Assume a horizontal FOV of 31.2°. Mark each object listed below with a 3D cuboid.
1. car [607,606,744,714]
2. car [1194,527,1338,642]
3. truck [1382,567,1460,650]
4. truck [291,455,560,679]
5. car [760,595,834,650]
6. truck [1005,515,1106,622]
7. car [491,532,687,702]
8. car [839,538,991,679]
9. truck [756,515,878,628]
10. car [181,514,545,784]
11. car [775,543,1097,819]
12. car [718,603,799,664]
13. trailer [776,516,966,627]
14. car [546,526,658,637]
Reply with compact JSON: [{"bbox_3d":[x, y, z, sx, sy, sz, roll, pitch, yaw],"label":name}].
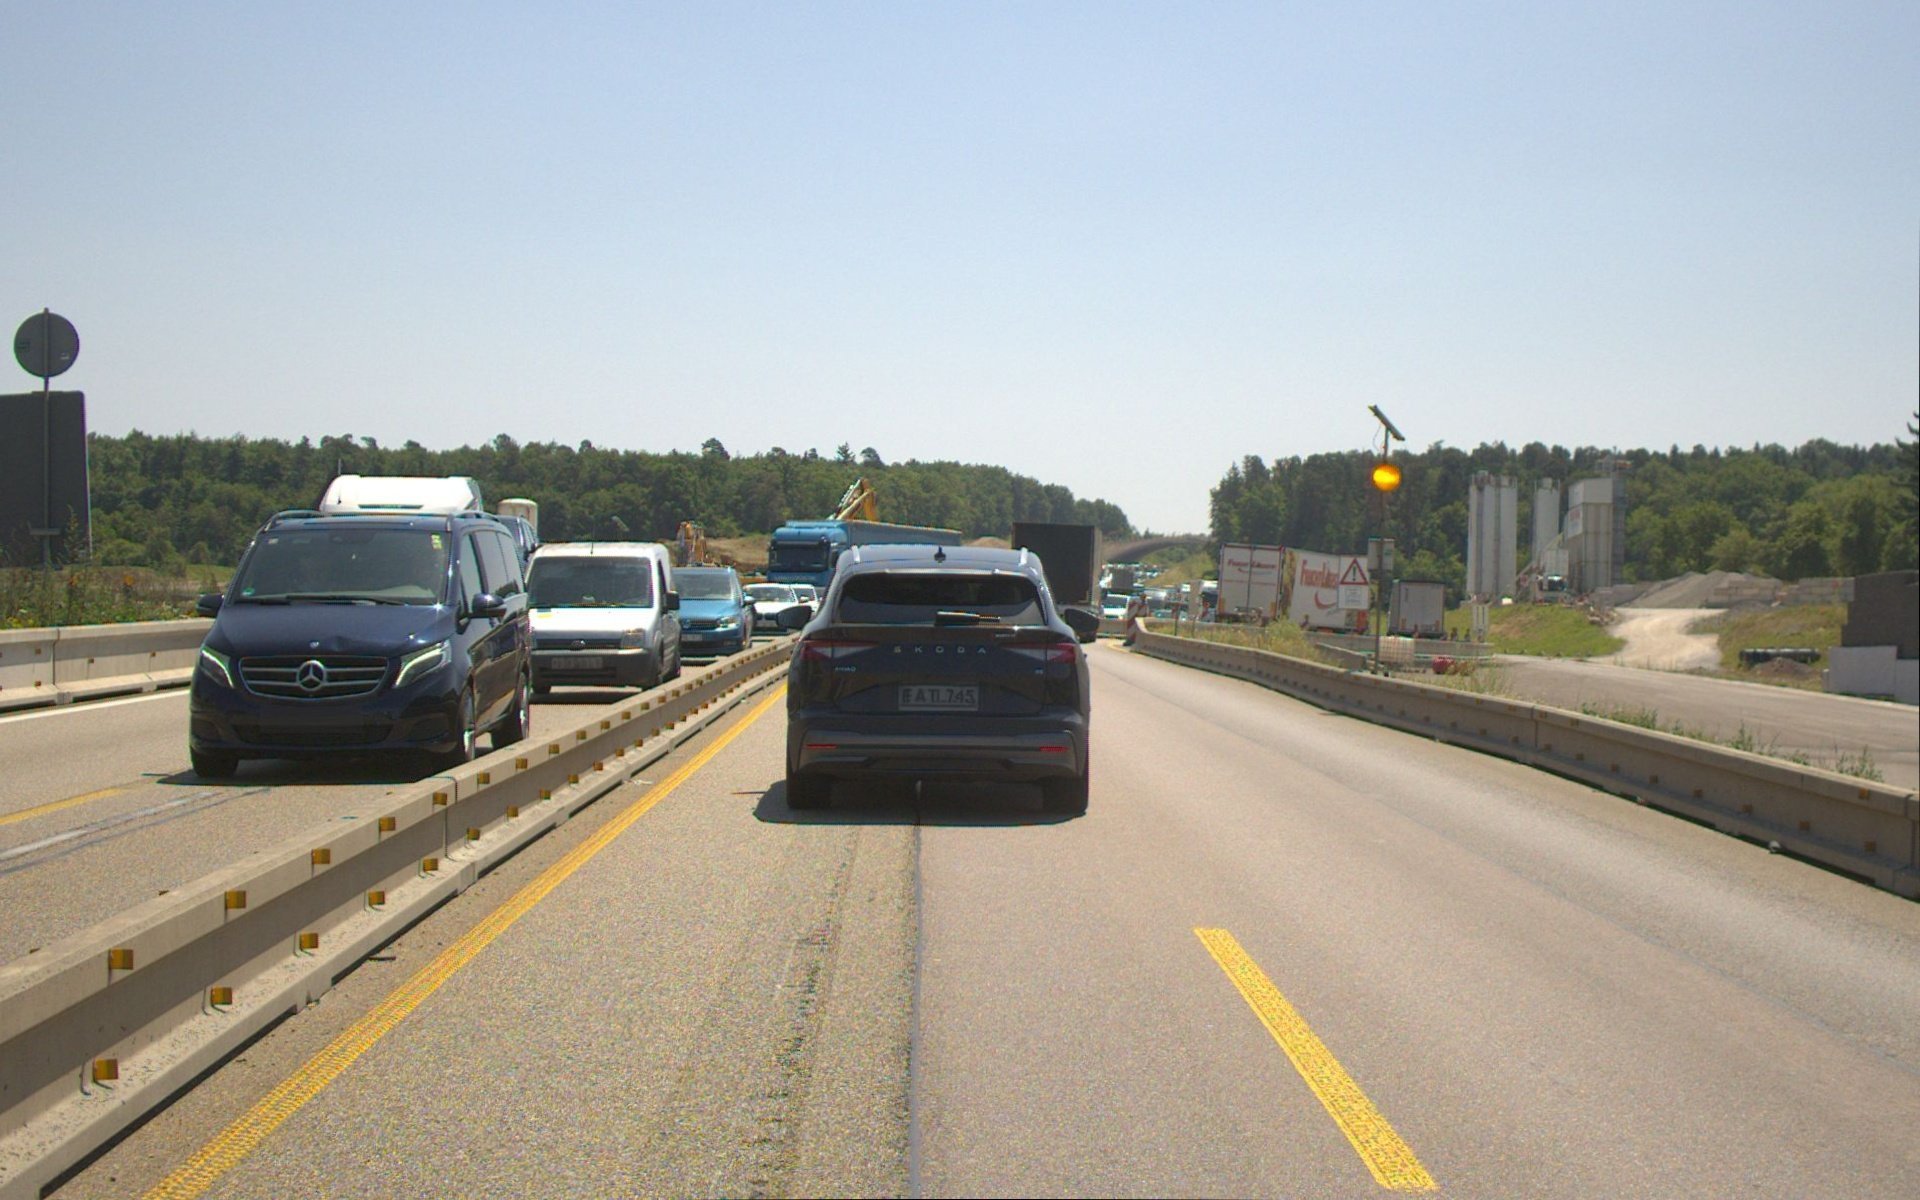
[{"bbox_3d":[-4.638,0.953,56.475,1.904,1.603,4.000,1,1,0],"label":"car"},{"bbox_3d":[12.373,-0.569,138.038,3.440,4.087,9.188,5,0,18],"label":"car"},{"bbox_3d":[26.353,0.520,196.207,3.477,4.206,10.371,7,1,10],"label":"truck"},{"bbox_3d":[-7.206,-0.469,47.358,2.480,2.814,8.129,0,1,0],"label":"truck"},{"bbox_3d":[-4.708,0.632,99.818,2.016,1.439,4.588,1,1,-1],"label":"car"},{"bbox_3d":[2.770,-0.927,98.116,2.673,2.935,5.620,1,1,3],"label":"truck"},{"bbox_3d":[-4.270,0.139,40.165,1.853,1.833,4.591,1,1,-1],"label":"car"},{"bbox_3d":[-0.673,0.102,48.835,1.993,1.837,4.000,3,0,-2],"label":"car"},{"bbox_3d":[-5.313,-1.039,128.514,2.916,4.115,6.134,1,0,14],"label":"truck"},{"bbox_3d":[-4.325,0.274,25.687,1.907,1.798,5.082,1,1,-1],"label":"car"},{"bbox_3d":[-0.132,0.446,21.771,1.842,1.576,4.000,0,1,0],"label":"car"},{"bbox_3d":[-4.963,0.806,85.107,1.816,1.371,4.248,-1,1,-1],"label":"car"},{"bbox_3d":[-3.334,-1.068,134.969,2.917,4.115,13.903,1,0,18],"label":"trailer"},{"bbox_3d":[-8.411,-0.438,81.276,1.914,2.391,6.453,-4,0,-1],"label":"car"}]
